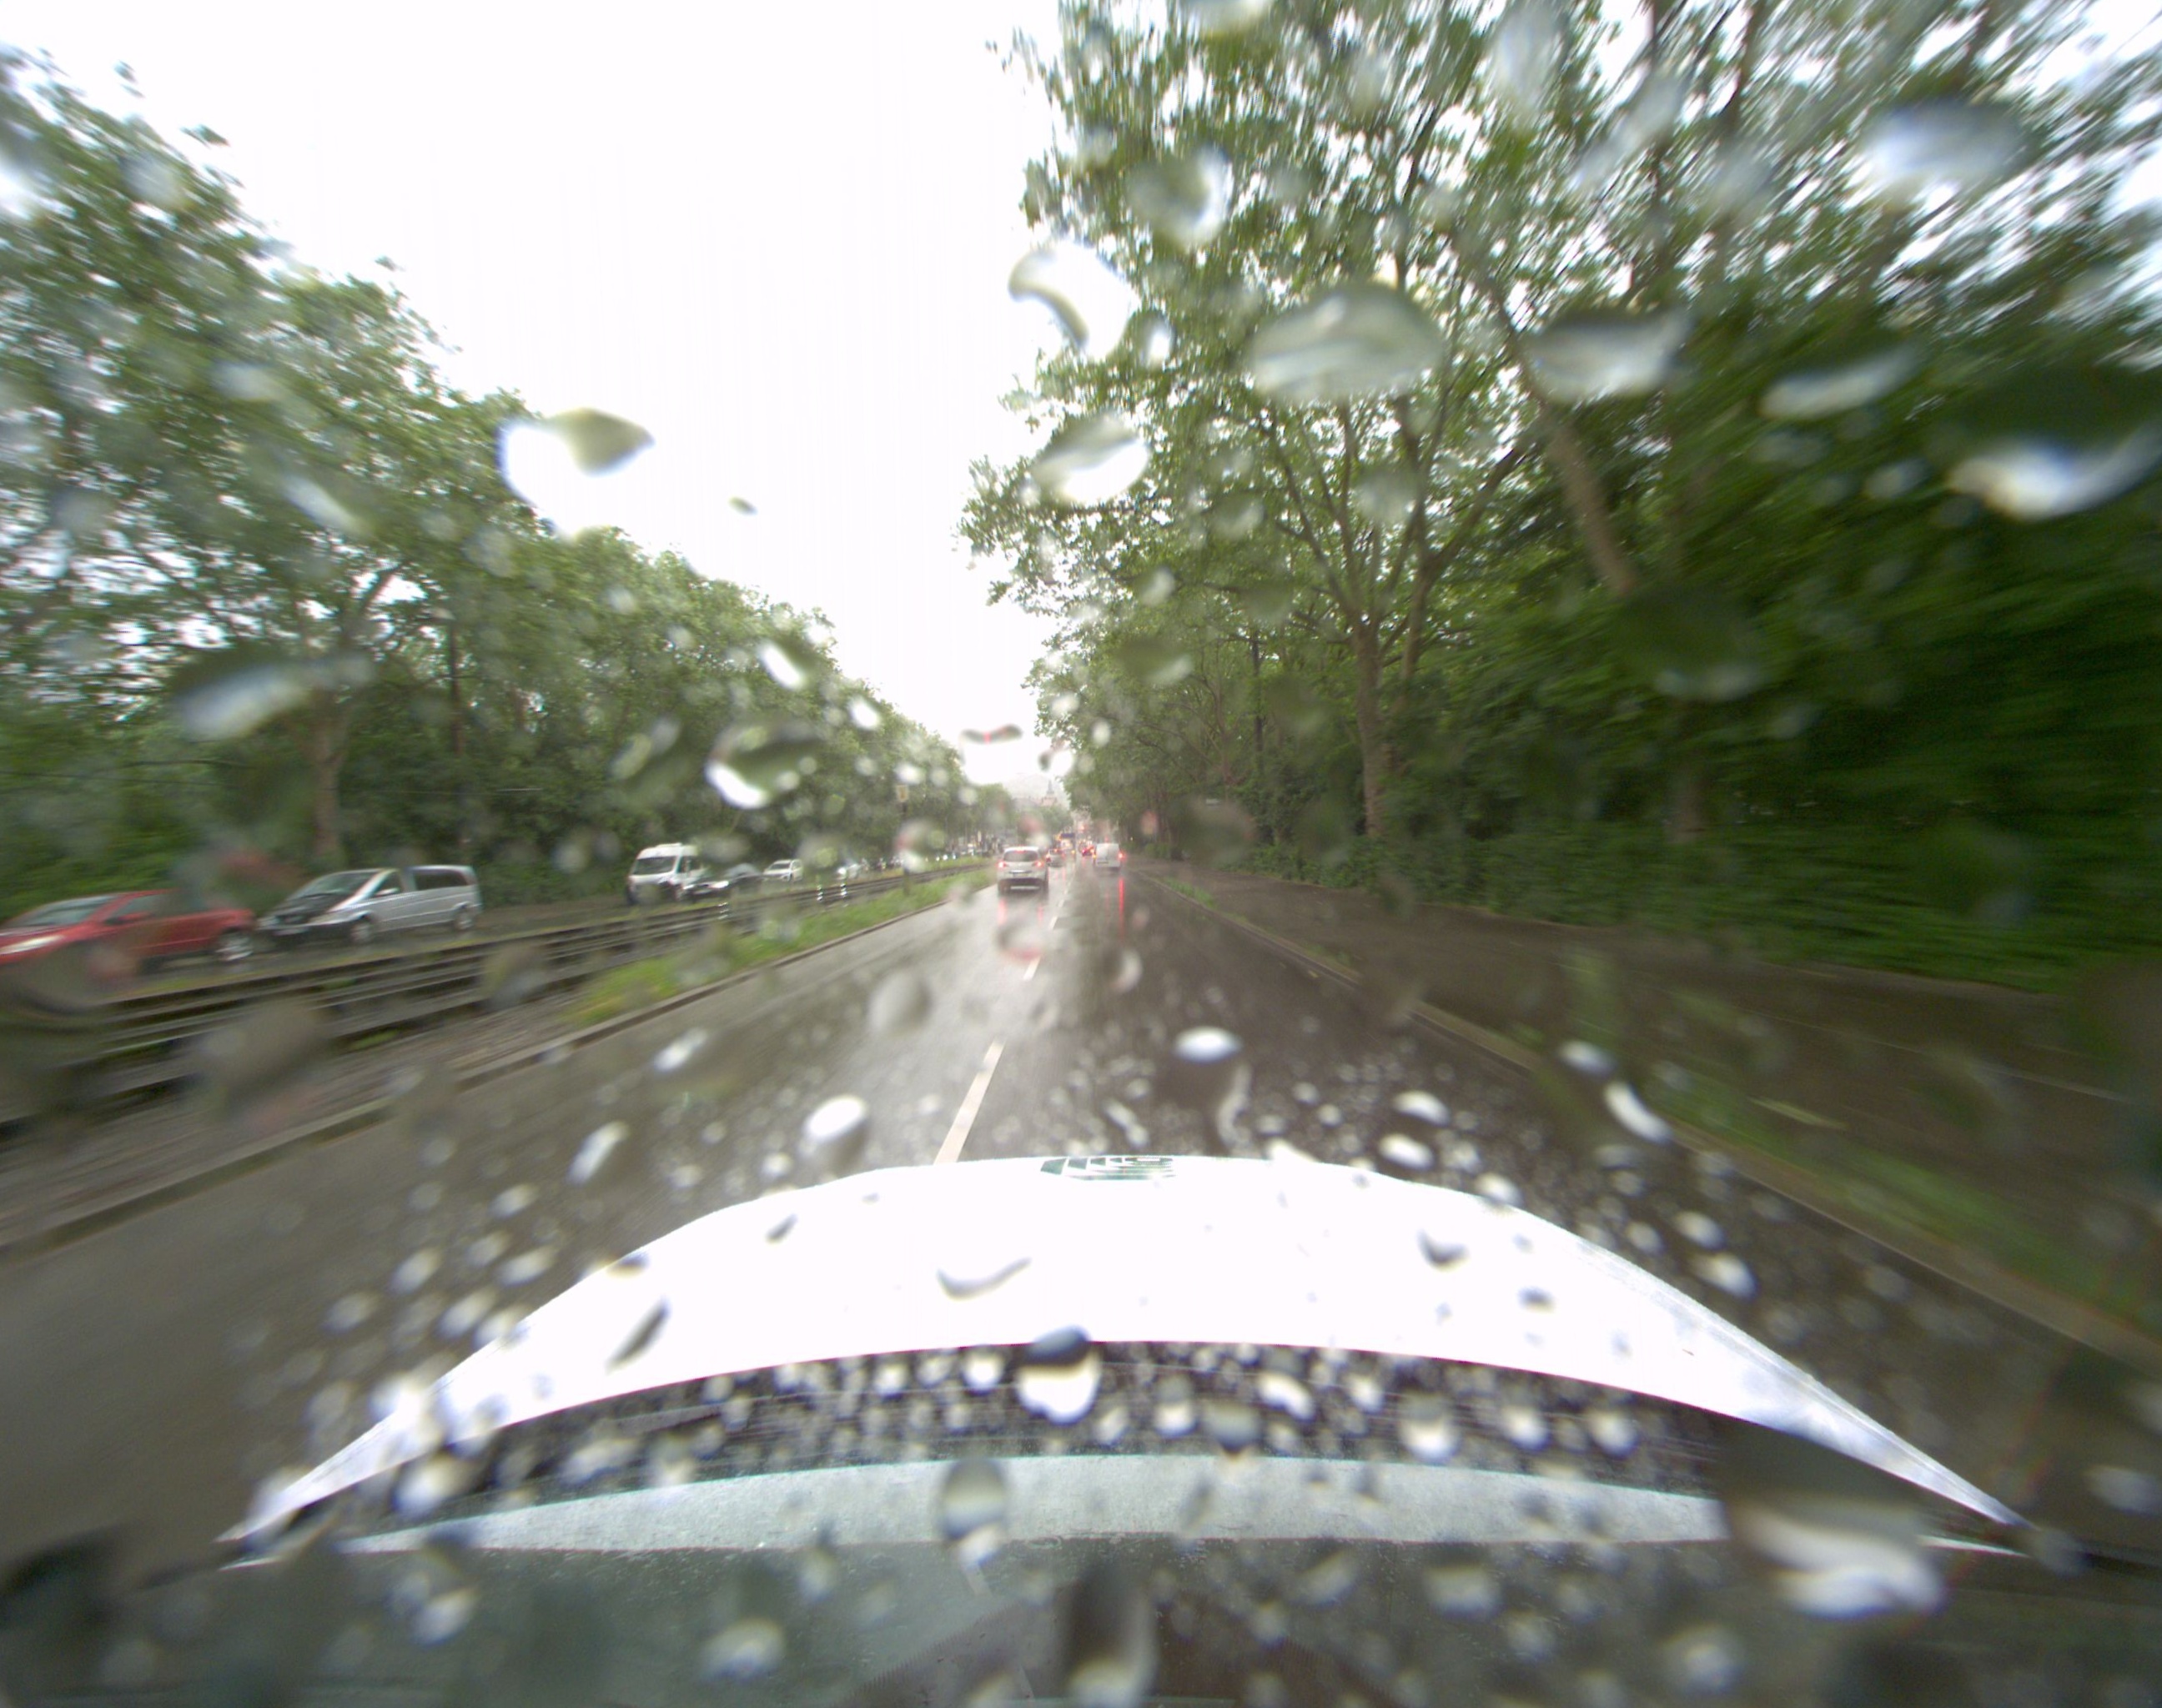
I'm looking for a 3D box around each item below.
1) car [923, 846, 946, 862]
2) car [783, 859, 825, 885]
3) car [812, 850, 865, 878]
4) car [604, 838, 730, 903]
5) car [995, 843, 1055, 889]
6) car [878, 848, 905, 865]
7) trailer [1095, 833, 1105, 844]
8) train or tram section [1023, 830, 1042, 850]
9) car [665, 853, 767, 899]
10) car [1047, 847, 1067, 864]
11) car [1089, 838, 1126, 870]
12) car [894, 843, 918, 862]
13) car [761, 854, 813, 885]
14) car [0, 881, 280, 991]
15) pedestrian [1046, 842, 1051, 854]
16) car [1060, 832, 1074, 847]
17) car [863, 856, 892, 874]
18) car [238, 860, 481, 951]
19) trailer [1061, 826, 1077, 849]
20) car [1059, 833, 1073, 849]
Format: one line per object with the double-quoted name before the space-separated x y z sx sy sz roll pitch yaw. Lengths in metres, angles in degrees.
"car" -17.443 -0.062 97.043 2.027 1.751 4.255 -3 1 -3
"car" -19.670 1.235 57.922 1.757 1.648 3.810 -3 1 -3
"car" -15.377 0.578 51.913 1.973 1.566 4.764 -3 1 -2
"car" -18.332 0.644 36.582 2.384 2.540 6.560 -3 1 -3
"car" -2.098 0.416 31.502 1.858 1.623 4.265 -1 1 2
"car" -20.592 0.243 88.868 2.027 1.657 4.605 -2 1 -3
"trailer" 4.189 -3.455 184.358 1.988 2.316 4.665 -1 0 -2
"train or tram section" -8.515 -2.613 144.984 2.953 3.285 8.356 -3 2 -1
"car" -14.501 0.811 32.674 2.027 1.552 4.564 -3 1 -1
"car" -2.087 0.125 71.723 1.720 1.479 3.804 -1 0 -1
"car" 1.510 -0.022 47.564 1.953 1.777 3.568 -1 0 -1
"car" -21.316 -0.187 99.351 2.028 2.092 4.796 -3 1 -5
"car" -18.624 0.964 51.772 1.746 1.728 4.527 -3 1 -3
"car" -17.751 1.428 15.079 1.813 1.552 4.023 -3 1 -1
"pedestrian" -4.753 -0.806 118.400 0.788 1.714 0.770 0 -1 -2
"car" -2.174 -2.268 126.507 1.987 2.262 5.287 -1 0 0
"car" -20.430 1.090 81.850 2.028 1.657 4.602 -2 1 -5
"car" -17.950 1.171 20.650 1.951 1.862 4.638 -3 1 -1
"trailer" -2.193 -2.946 146.488 2.583 3.899 7.631 -1 1 -2
"car" -2.509 -2.121 136.638 2.322 2.557 6.112 -1 0 0
